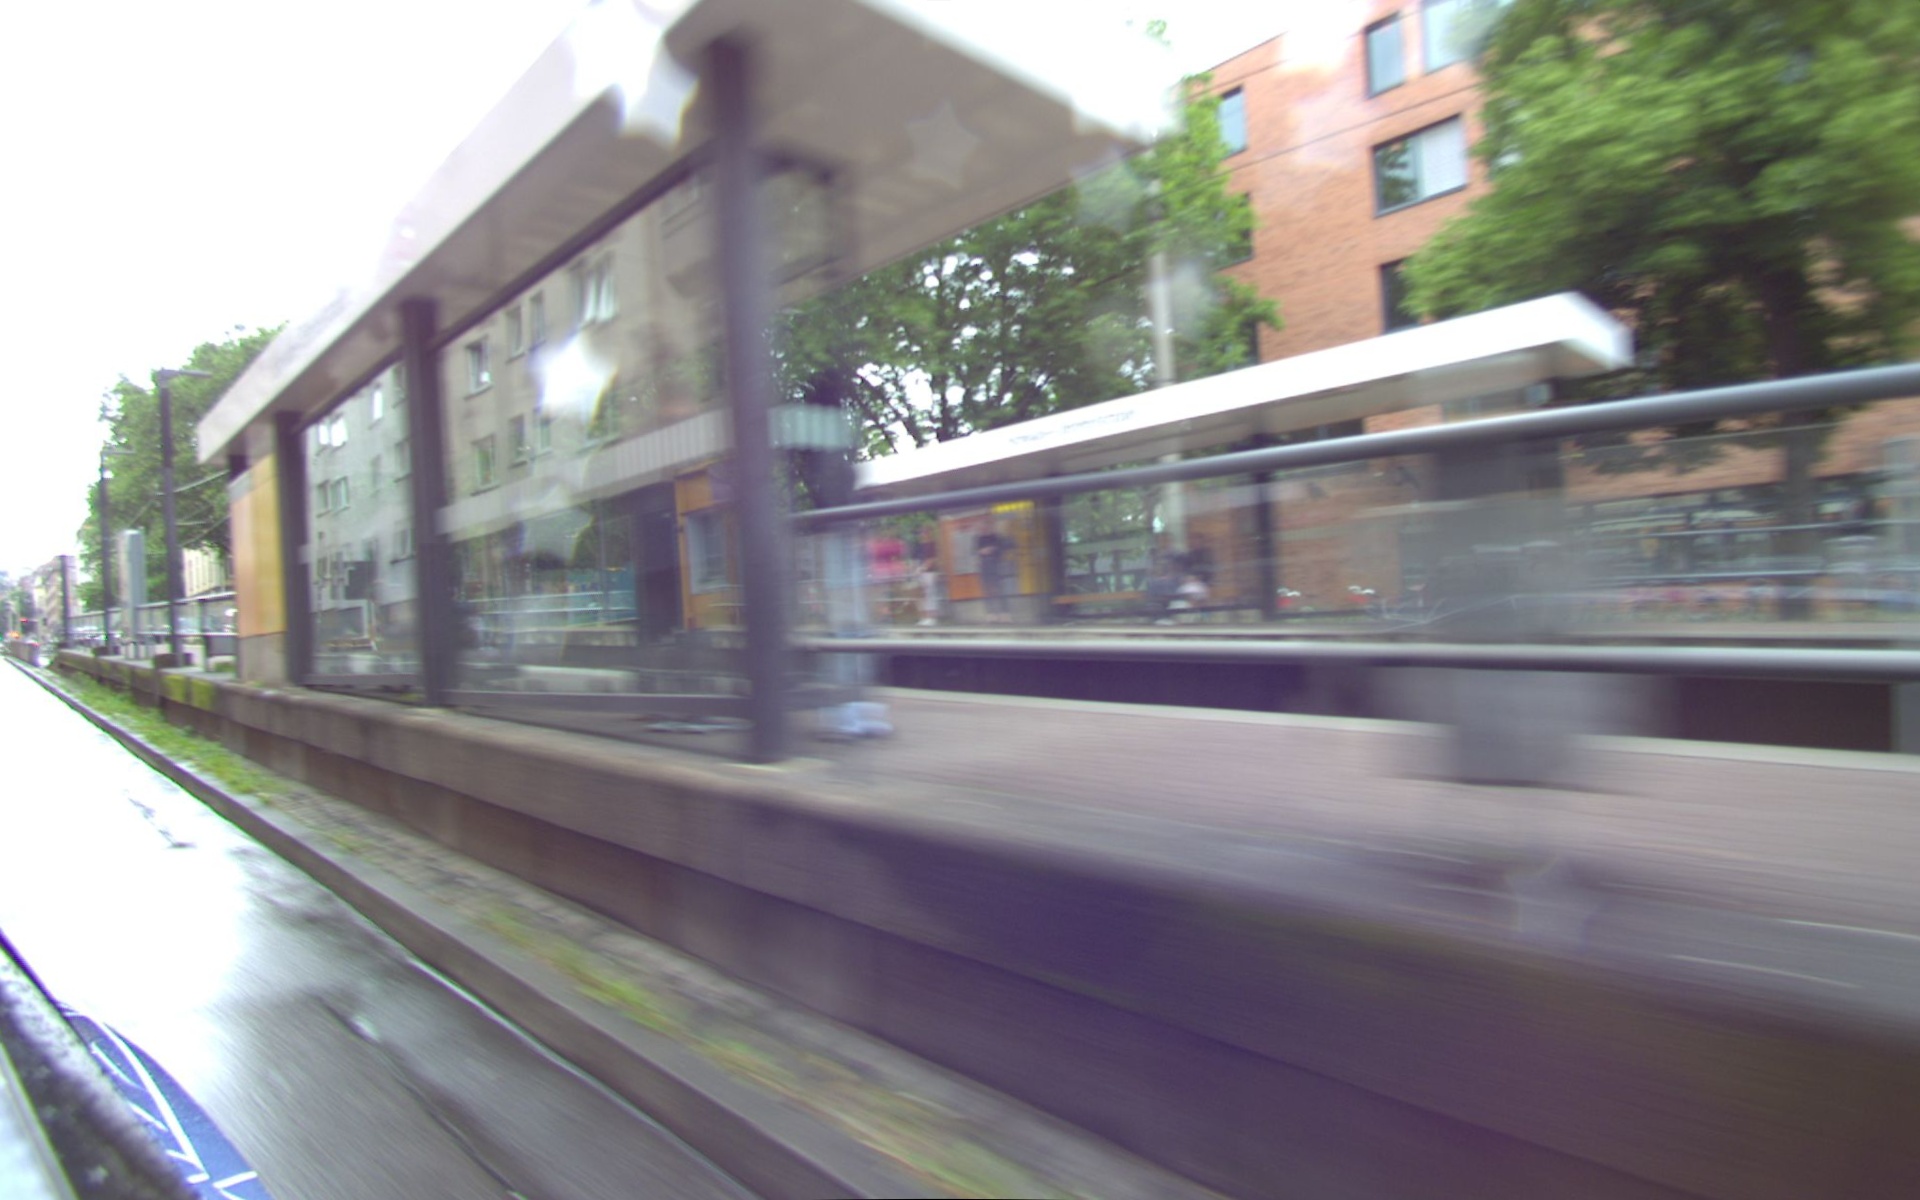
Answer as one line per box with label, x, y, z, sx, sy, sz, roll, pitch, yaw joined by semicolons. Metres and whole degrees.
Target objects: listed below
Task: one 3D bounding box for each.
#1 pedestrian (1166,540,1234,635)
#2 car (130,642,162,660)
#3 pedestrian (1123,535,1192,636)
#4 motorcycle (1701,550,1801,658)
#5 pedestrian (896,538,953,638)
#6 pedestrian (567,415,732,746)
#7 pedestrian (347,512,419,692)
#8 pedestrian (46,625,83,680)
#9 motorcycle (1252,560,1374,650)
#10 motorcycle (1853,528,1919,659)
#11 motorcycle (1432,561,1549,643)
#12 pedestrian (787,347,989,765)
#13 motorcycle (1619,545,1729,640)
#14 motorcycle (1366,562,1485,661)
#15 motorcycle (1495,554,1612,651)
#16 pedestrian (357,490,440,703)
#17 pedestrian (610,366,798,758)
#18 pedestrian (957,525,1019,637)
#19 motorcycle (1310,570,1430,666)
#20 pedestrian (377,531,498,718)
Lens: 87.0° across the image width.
pedestrian;3.275;-0.171;13.794;0.564;1.249;0.696;-3;0;43
car;-74.048;4.638;92.013;1.865;1.488;3.810;-4;1;-44
pedestrian;2.766;-0.207;14.181;0.564;1.373;0.769;-3;0;43
motorcycle;13.264;0.016;16.921;1.006;1.639;3.025;-2;1;43
pedestrian;-0.600;-0.207;17.086;0.564;1.653;0.679;-3;0;43
pedestrian;-1.613;-0.097;5.259;0.606;1.593;0.508;-2;0;-42
pedestrian;-5.336;0.017;9.359;0.450;1.617;0.405;-2;0;39
pedestrian;-31.105;1.811;35.142;0.787;1.812;0.849;-3;0;44
motorcycle;7.800;0.067;22.164;1.006;1.787;3.822;-2;1;43
motorcycle;14.366;-0.143;15.422;0.993;1.829;3.003;-2;1;43
motorcycle;10.474;-0.005;19.881;1.006;1.417;3.822;-2;1;43
pedestrian;-0.301;-0.173;4.244;0.606;1.593;0.508;-2;0;-42
motorcycle;12.590;-0.177;17.770;1.006;1.499;3.822;-2;1;43
motorcycle;9.597;0.175;20.737;1.006;1.829;3.822;-2;1;43
motorcycle;11.066;-0.009;18.774;1.006;1.617;3.822;-2;1;43
pedestrian;-4.389;-0.032;7.938;0.498;1.601;0.529;-2;0;-27
pedestrian;-1.222;-0.168;4.820;0.606;1.700;0.588;-2;0;-42
pedestrian;0.451;-0.300;16.135;0.706;1.728;0.556;-3;0;43
motorcycle;8.792;0.321;21.551;1.006;1.829;3.822;-2;1;43
pedestrian;-3.660;0.158;7.086;0.606;1.236;0.508;-2;0;-42
